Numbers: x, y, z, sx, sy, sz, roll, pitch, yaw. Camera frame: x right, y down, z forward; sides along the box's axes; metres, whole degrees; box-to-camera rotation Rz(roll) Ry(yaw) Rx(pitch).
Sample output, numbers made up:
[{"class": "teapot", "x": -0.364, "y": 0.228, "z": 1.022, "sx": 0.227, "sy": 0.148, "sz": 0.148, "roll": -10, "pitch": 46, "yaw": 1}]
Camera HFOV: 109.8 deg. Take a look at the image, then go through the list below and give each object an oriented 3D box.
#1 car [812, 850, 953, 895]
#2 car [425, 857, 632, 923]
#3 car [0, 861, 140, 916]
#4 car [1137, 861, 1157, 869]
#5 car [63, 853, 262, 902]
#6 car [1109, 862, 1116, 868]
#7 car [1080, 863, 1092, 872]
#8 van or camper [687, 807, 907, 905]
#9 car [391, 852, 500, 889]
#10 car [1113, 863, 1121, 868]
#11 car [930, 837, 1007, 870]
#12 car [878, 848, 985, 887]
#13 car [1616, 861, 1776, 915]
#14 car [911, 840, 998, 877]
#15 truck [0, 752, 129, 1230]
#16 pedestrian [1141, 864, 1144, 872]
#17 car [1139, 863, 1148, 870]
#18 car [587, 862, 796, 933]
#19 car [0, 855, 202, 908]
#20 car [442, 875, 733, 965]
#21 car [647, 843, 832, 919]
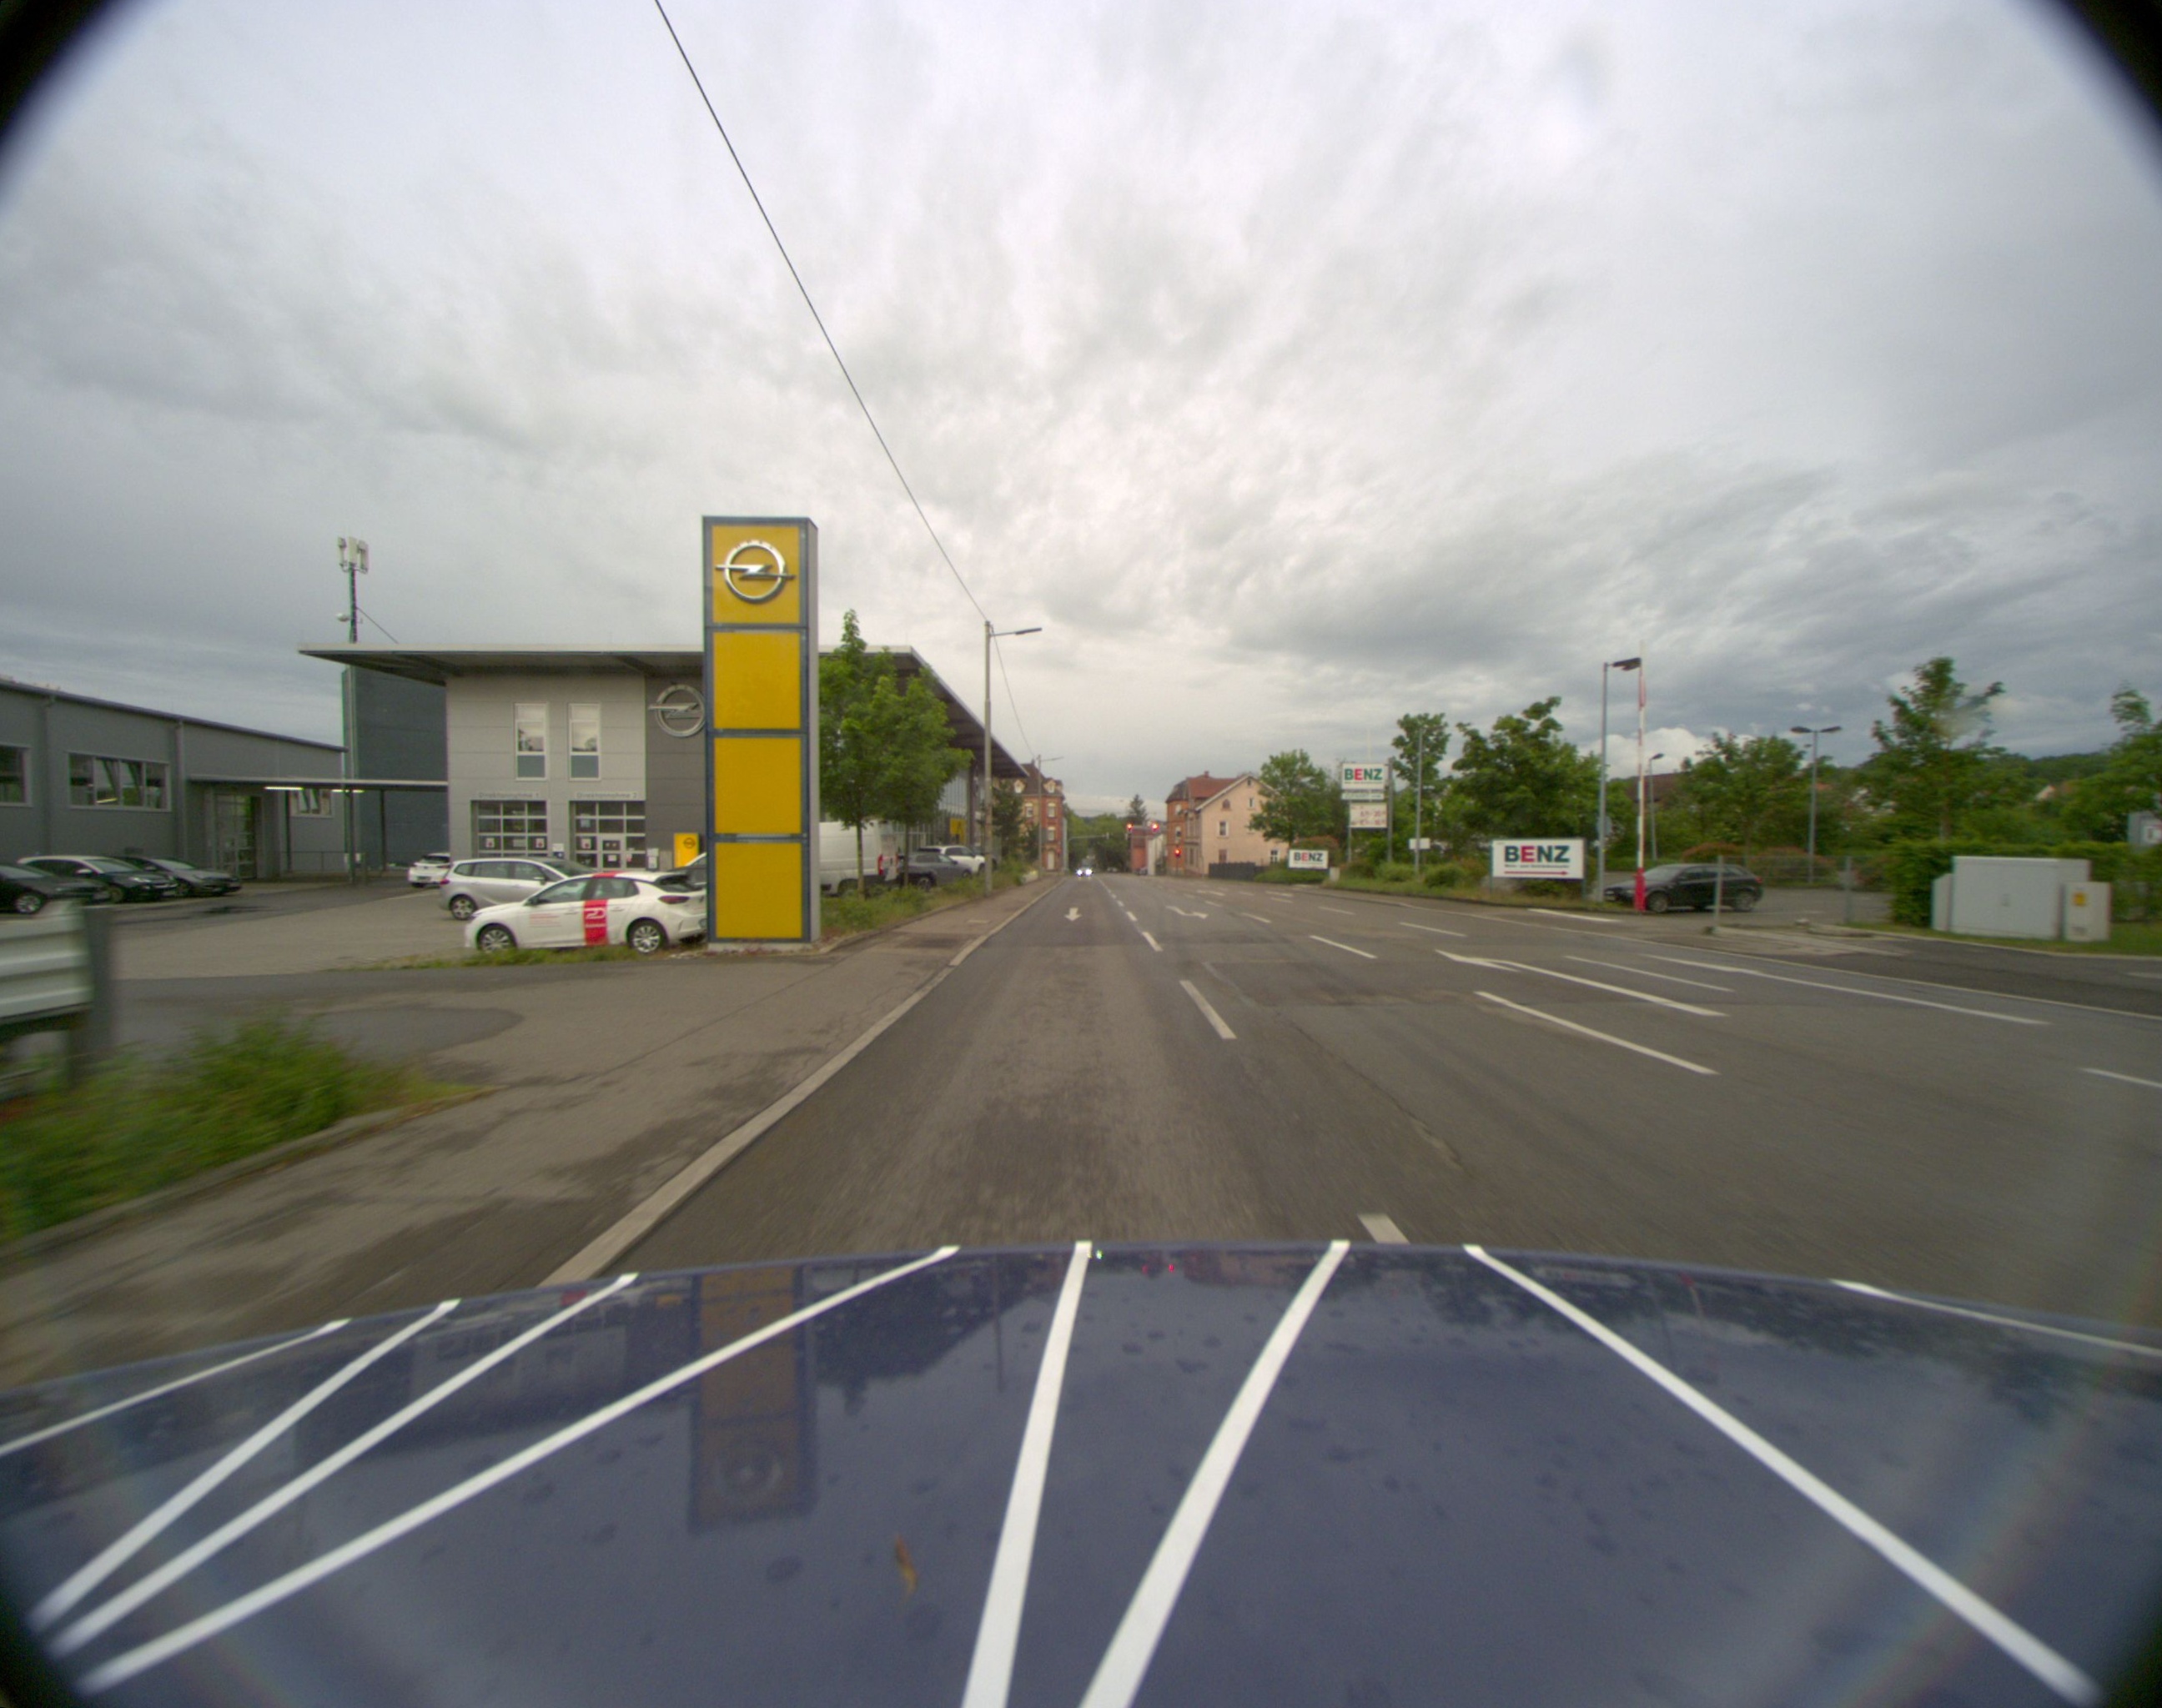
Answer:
[{"class": "car", "x": -7.108, "y": 0.625, "z": 27.434, "sx": 4.527, "sy": 1.446, "sz": 1.910, "roll": 0, "pitch": 2, "yaw": -42}, {"class": "car", "x": -14.758, "y": 0.924, "z": 20.484, "sx": 4.150, "sy": 1.630, "sz": 1.866, "roll": -1, "pitch": 1, "yaw": -1}, {"class": "car", "x": -29.808, "y": 0.930, "z": 21.241, "sx": 4.004, "sy": 1.415, "sz": 1.837, "roll": 1, "pitch": 1, "yaw": -19}, {"class": "car", "x": 16.160, "y": 2.703, "z": 186.273, "sx": 4.542, "sy": 1.599, "sz": 2.153, "roll": -2, "pitch": 0, "yaw": 3}, {"class": "car", "x": -31.742, "y": 0.765, "z": 26.421, "sx": 4.003, "sy": 1.541, "sz": 1.844, "roll": -1, "pitch": 1, "yaw": -19}, {"class": "car", "x": 8.732, "y": 3.001, "z": 209.549, "sx": 1.816, "sy": 1.537, "sz": 4.199, "roll": 3, "pitch": 0, "yaw": 0}, {"class": "car", "x": 0.761, "y": 2.128, "z": 117.679, "sx": 1.842, "sy": 1.403, "sz": 4.000, "roll": 0, "pitch": 0, "yaw": 1}, {"class": "van or camper", "x": -8.524, "y": 0.061, "z": 23.250, "sx": 5.751, "sy": 2.708, "sz": 2.352, "roll": -1, "pitch": 0, "yaw": 0}, {"class": "car", "x": -26.314, "y": 0.651, "z": 31.662, "sx": 2.001, "sy": 1.412, "sz": 3.994, "roll": -1, "pitch": 0, "yaw": -16}, {"class": "car", "x": 9.376, "y": 2.973, "z": 198.327, "sx": 1.789, "sy": 1.402, "sz": 4.198, "roll": 2, "pitch": 0, "yaw": -2}, {"class": "car", "x": -6.130, "y": -0.034, "z": 42.025, "sx": 1.994, "sy": 1.701, "sz": 4.436, "roll": 2, "pitch": 1, "yaw": 27}, {"class": "car", "x": -6.174, "y": 0.513, "z": 31.917, "sx": 1.910, "sy": 1.446, "sz": 4.580, "roll": 2, "pitch": 1, "yaw": 28}, {"class": "car", "x": 18.220, "y": 0.991, "z": 22.614, "sx": 3.496, "sy": 1.455, "sz": 1.543, "roll": -1, "pitch": 0, "yaw": 0}, {"class": "car", "x": -6.114, "y": 0.180, "z": 37.236, "sx": 1.995, "sy": 1.701, "sz": 4.585, "roll": 2, "pitch": 1, "yaw": 24}, {"class": "truck", "x": -7.103, "y": 0.619, "z": 2.371, "sx": 5.161, "sy": 2.002, "sz": 2.345, "roll": -1, "pitch": 0, "yaw": -1}, {"class": "pedestrian", "x": 12.142, "y": 2.775, "z": 150.174, "sx": 0.642, "sy": 1.696, "sz": 0.911, "roll": -1, "pitch": 0, "yaw": 1}, {"class": "car", "x": 13.727, "y": 2.780, "z": 166.376, "sx": 1.749, "sy": 1.499, "sz": 4.178, "roll": 0, "pitch": 0, "yaw": 1}, {"class": "car", "x": -9.114, "y": 0.993, "z": 18.031, "sx": 3.997, "sy": 1.423, "sz": 1.747, "roll": -1, "pitch": 3, "yaw": 1}, {"class": "car", "x": -31.433, "y": 0.828, "z": 24.243, "sx": 4.003, "sy": 1.541, "sz": 1.844, "roll": -1, "pitch": 1, "yaw": -19}, {"class": "car", "x": -8.698, "y": 1.135, "z": 13.663, "sx": 3.996, "sy": 1.420, "sz": 1.895, "roll": -1, "pitch": 0, "yaw": 1}, {"class": "car", "x": -9.236, "y": 0.701, "z": 20.774, "sx": 4.137, "sy": 1.836, "sz": 1.842, "roll": -1, "pitch": 3, "yaw": 3}]
